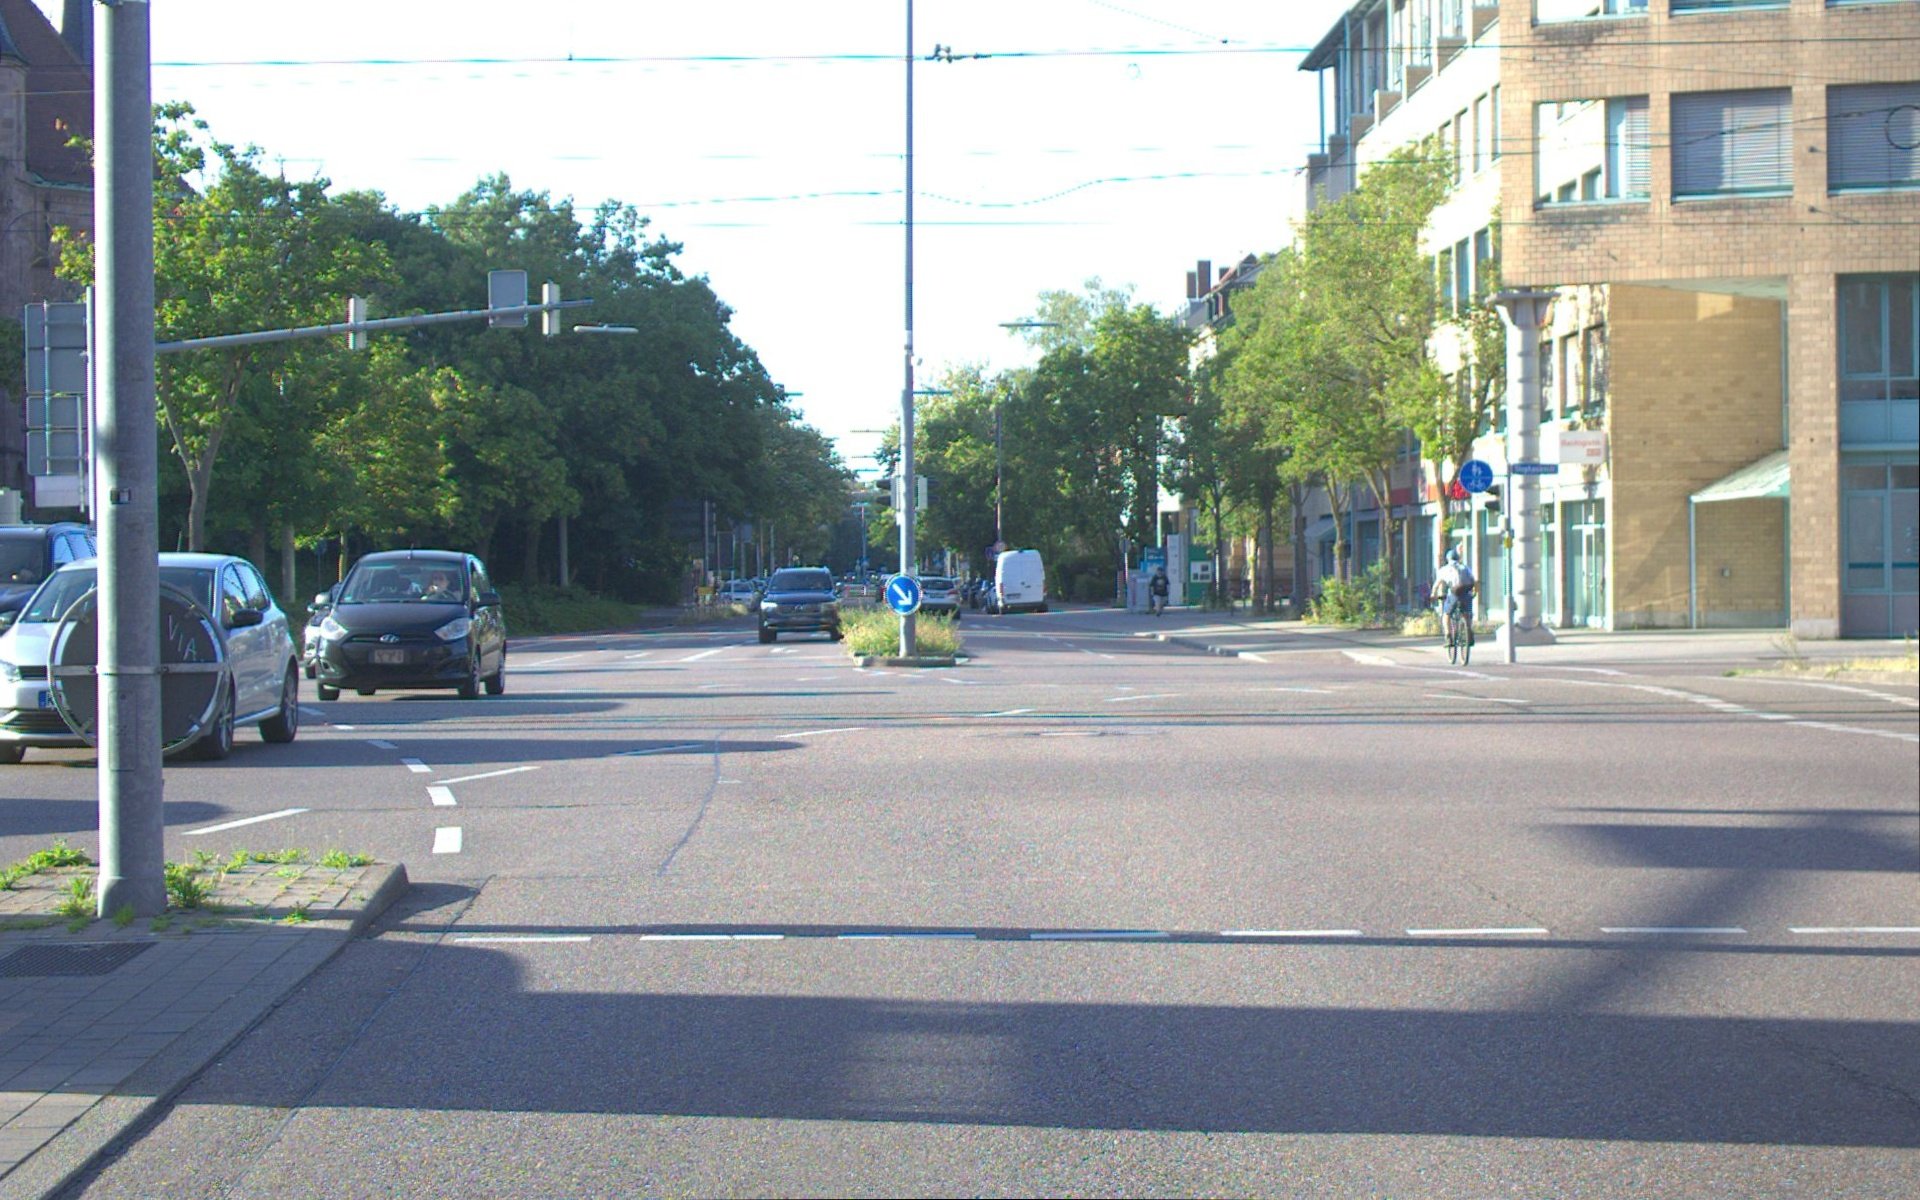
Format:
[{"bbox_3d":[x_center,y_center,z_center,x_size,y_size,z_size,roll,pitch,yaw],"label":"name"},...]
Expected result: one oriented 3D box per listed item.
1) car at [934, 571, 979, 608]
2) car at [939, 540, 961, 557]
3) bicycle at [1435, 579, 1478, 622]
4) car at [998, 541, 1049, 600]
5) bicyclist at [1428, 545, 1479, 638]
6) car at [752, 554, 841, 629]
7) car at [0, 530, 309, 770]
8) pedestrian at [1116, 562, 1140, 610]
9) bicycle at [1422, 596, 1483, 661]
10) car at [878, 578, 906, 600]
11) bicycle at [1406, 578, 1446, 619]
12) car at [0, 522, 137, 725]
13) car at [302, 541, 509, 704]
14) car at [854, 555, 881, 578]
[{"bbox_3d":[-0.143,-0.385,123.119,1.594,1.263,3.266,0,1,0],"label":"car"},{"bbox_3d":[-0.775,-3.818,255.087,1.594,1.263,3.266,0,1,0],"label":"car"},{"bbox_3d":[11.558,0.002,80.139,0.646,0.991,2.081,0,0,-1],"label":"bicycle"},{"bbox_3d":[2.639,-1.250,144.430,1.993,2.432,4.000,1,0,0],"label":"car"},{"bbox_3d":[7.352,-0.130,51.253,0.592,1.364,0.930,1,0,0],"label":"bicyclist"},{"bbox_3d":[-3.867,-0.185,82.082,1.993,1.718,5.031,-1,0,-1],"label":"car"},{"bbox_3d":[-5.870,0.298,24.673,1.675,1.539,3.806,-2,1,-1],"label":"car"},{"bbox_3d":[6.389,-0.542,130.567,0.847,1.797,0.776,0,1,-1],"label":"pedestrian"},{"bbox_3d":[7.354,0.418,51.417,0.592,0.940,1.978,1,0,0],"label":"bicycle"},{"bbox_3d":[-3.988,-0.654,200.933,1.594,1.263,3.266,0,1,0],"label":"car"},{"bbox_3d":[11.465,-0.043,84.643,0.646,0.991,2.081,0,0,-1],"label":"bicycle"},{"bbox_3d":[-8.981,0.176,31.327,1.816,1.705,4.786,-2,1,-1],"label":"car"},{"bbox_3d":[-5.682,0.192,35.581,1.578,1.539,3.477,-2,1,-1],"label":"car"},{"bbox_3d":[-6.746,-2.456,250.936,1.886,1.665,4.000,1,1,0],"label":"car"}]
